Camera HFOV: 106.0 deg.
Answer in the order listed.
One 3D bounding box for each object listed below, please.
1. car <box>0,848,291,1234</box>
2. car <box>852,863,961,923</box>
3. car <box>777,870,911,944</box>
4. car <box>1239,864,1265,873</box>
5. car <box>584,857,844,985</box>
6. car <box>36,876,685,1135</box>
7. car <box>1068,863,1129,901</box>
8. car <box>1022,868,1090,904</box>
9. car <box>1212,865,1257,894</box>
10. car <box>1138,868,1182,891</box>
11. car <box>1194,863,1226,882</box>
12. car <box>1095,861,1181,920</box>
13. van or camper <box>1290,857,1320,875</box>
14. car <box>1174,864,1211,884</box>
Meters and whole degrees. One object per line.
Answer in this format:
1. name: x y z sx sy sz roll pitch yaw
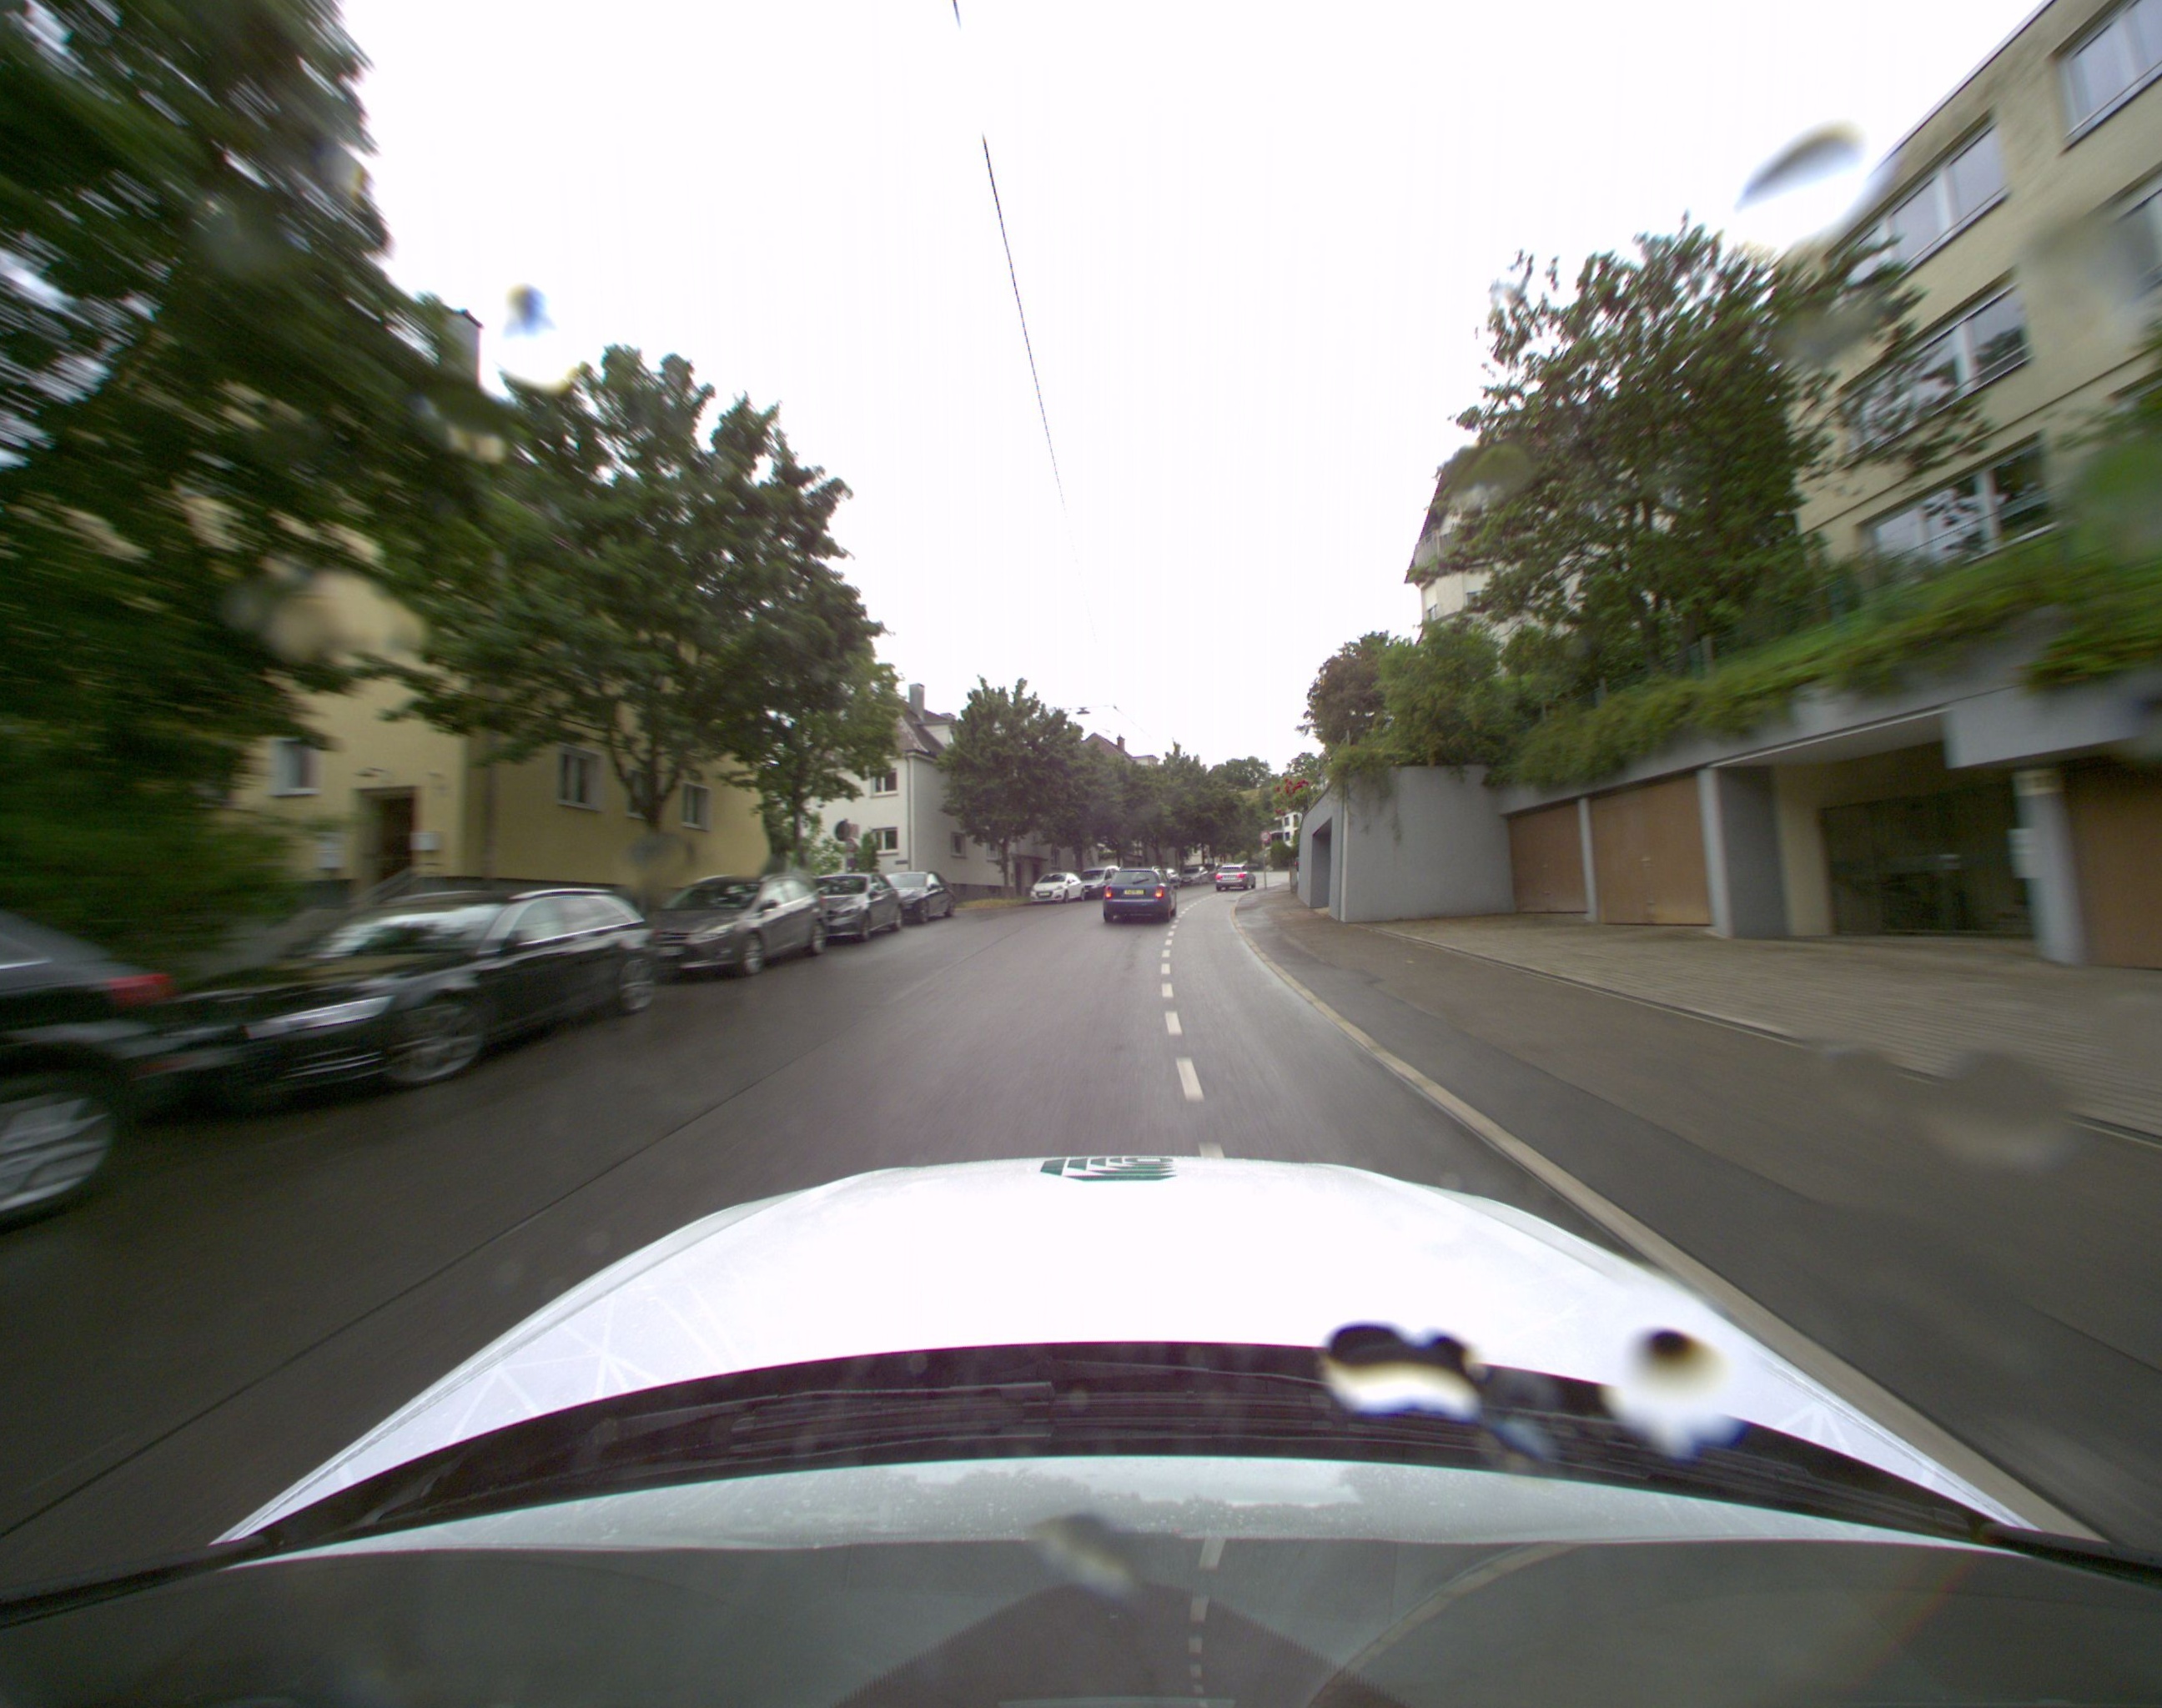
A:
1. car: -5.662 0.814 2.513 1.846 1.668 4.590 -1 -1 2
2. car: -4.867 1.047 23.384 1.766 1.540 4.523 -1 -1 5
3. car: -5.147 1.086 18.272 1.608 1.397 4.324 -1 -1 1
4. car: 29.574 2.510 140.593 4.193 1.508 1.724 -1 -2 -29
5. car: -5.564 0.925 13.119 1.845 1.690 4.560 -1 -1 4
6. car: -5.700 1.017 7.522 1.849 1.498 4.737 -1 -1 -2
7. car: 1.027 1.553 45.145 1.897 2.001 4.571 -2 -2 21
8. car: -1.124 1.557 39.368 1.770 1.514 4.366 -5 -4 19
9. car: 8.875 1.424 46.876 1.934 1.561 4.283 1 0 18
10. car: 5.347 1.711 54.702 1.789 1.453 4.619 -2 -2 21
11. car: 11.255 1.594 70.742 1.789 1.627 4.161 -2 -2 22
12. car: 1.673 0.932 22.501 1.842 1.414 4.374 -2 -1 10
13. van or camper: 26.251 1.441 95.387 1.974 2.014 4.025 -3 -4 37
14. car: 8.911 1.613 64.819 1.789 1.552 4.824 -2 -2 22
